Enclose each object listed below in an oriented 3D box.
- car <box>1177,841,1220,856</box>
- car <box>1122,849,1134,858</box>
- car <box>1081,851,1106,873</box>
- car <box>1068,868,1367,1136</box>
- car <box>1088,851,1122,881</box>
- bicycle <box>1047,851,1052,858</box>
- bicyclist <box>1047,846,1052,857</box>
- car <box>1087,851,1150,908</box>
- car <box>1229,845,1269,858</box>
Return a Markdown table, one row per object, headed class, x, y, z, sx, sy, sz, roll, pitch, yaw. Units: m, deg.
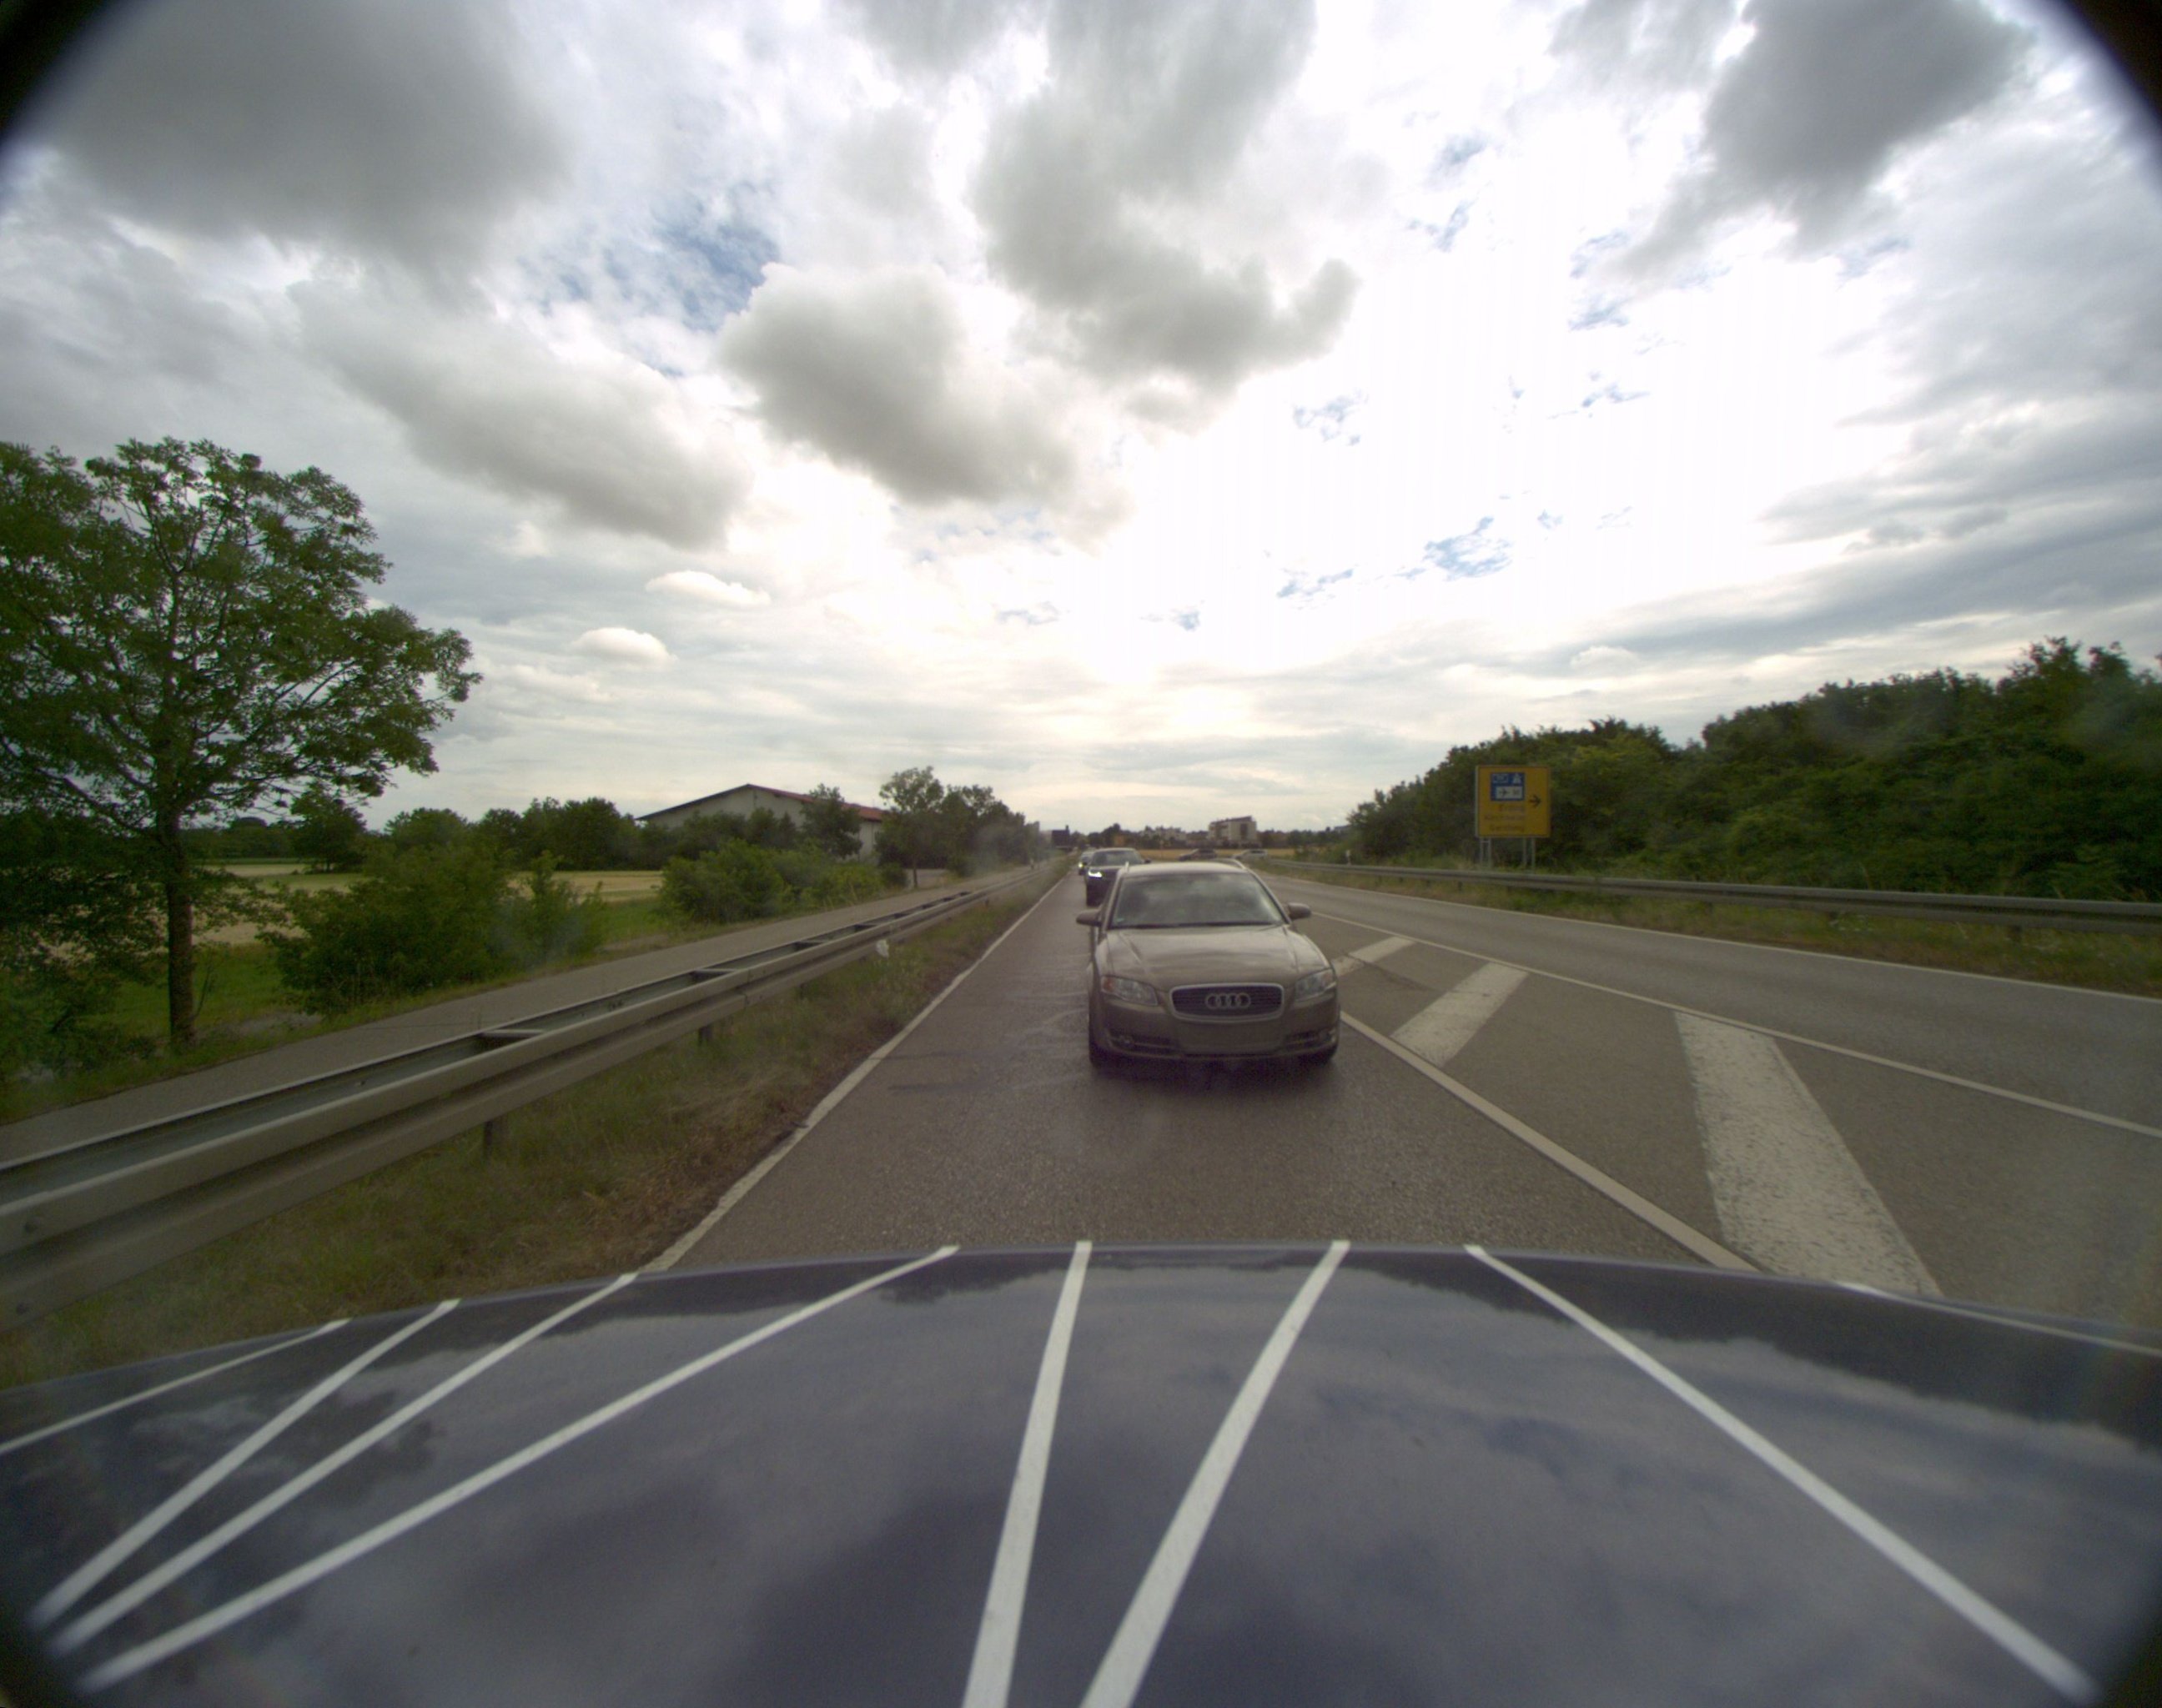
| class | x | y | z | sx | sy | sz | roll | pitch | yaw |
| --- | --- | --- | --- | --- | --- | --- | --- | --- | --- |
| car | 14.159 | -0.621 | 91.469 | 4.815 | 1.680 | 1.999 | -1 | 1 | -3 |
| car | 8.552 | -0.118 | 139.092 | 1.804 | 1.442 | 4.445 | -1 | 1 | 0 |
| car | 0.908 | 0.569 | 56.574 | 1.730 | 1.436 | 4.204 | -2 | 1 | 1 |
| car | 0.822 | 0.910 | 6.565 | 1.730 | 1.436 | 4.204 | -1 | 1 | 0 |
| car | 1.288 | 0.631 | 41.795 | 1.730 | 1.478 | 4.204 | -2 | 1 | 1 |
| bicycle | -4.668 | 0.079 | 112.848 | 0.640 | 0.972 | 2.072 | -1 | 1 | 1 |
| bicyclist | -4.675 | -0.387 | 112.819 | 0.640 | 1.573 | 0.969 | -1 | 1 | 1 |
| car | 1.088 | 0.728 | 23.812 | 1.730 | 1.534 | 4.204 | -2 | 1 | 1 |
| car | 20.210 | -0.308 | 91.486 | 4.672 | 1.490 | 2.001 | -1 | 1 | 10 |
